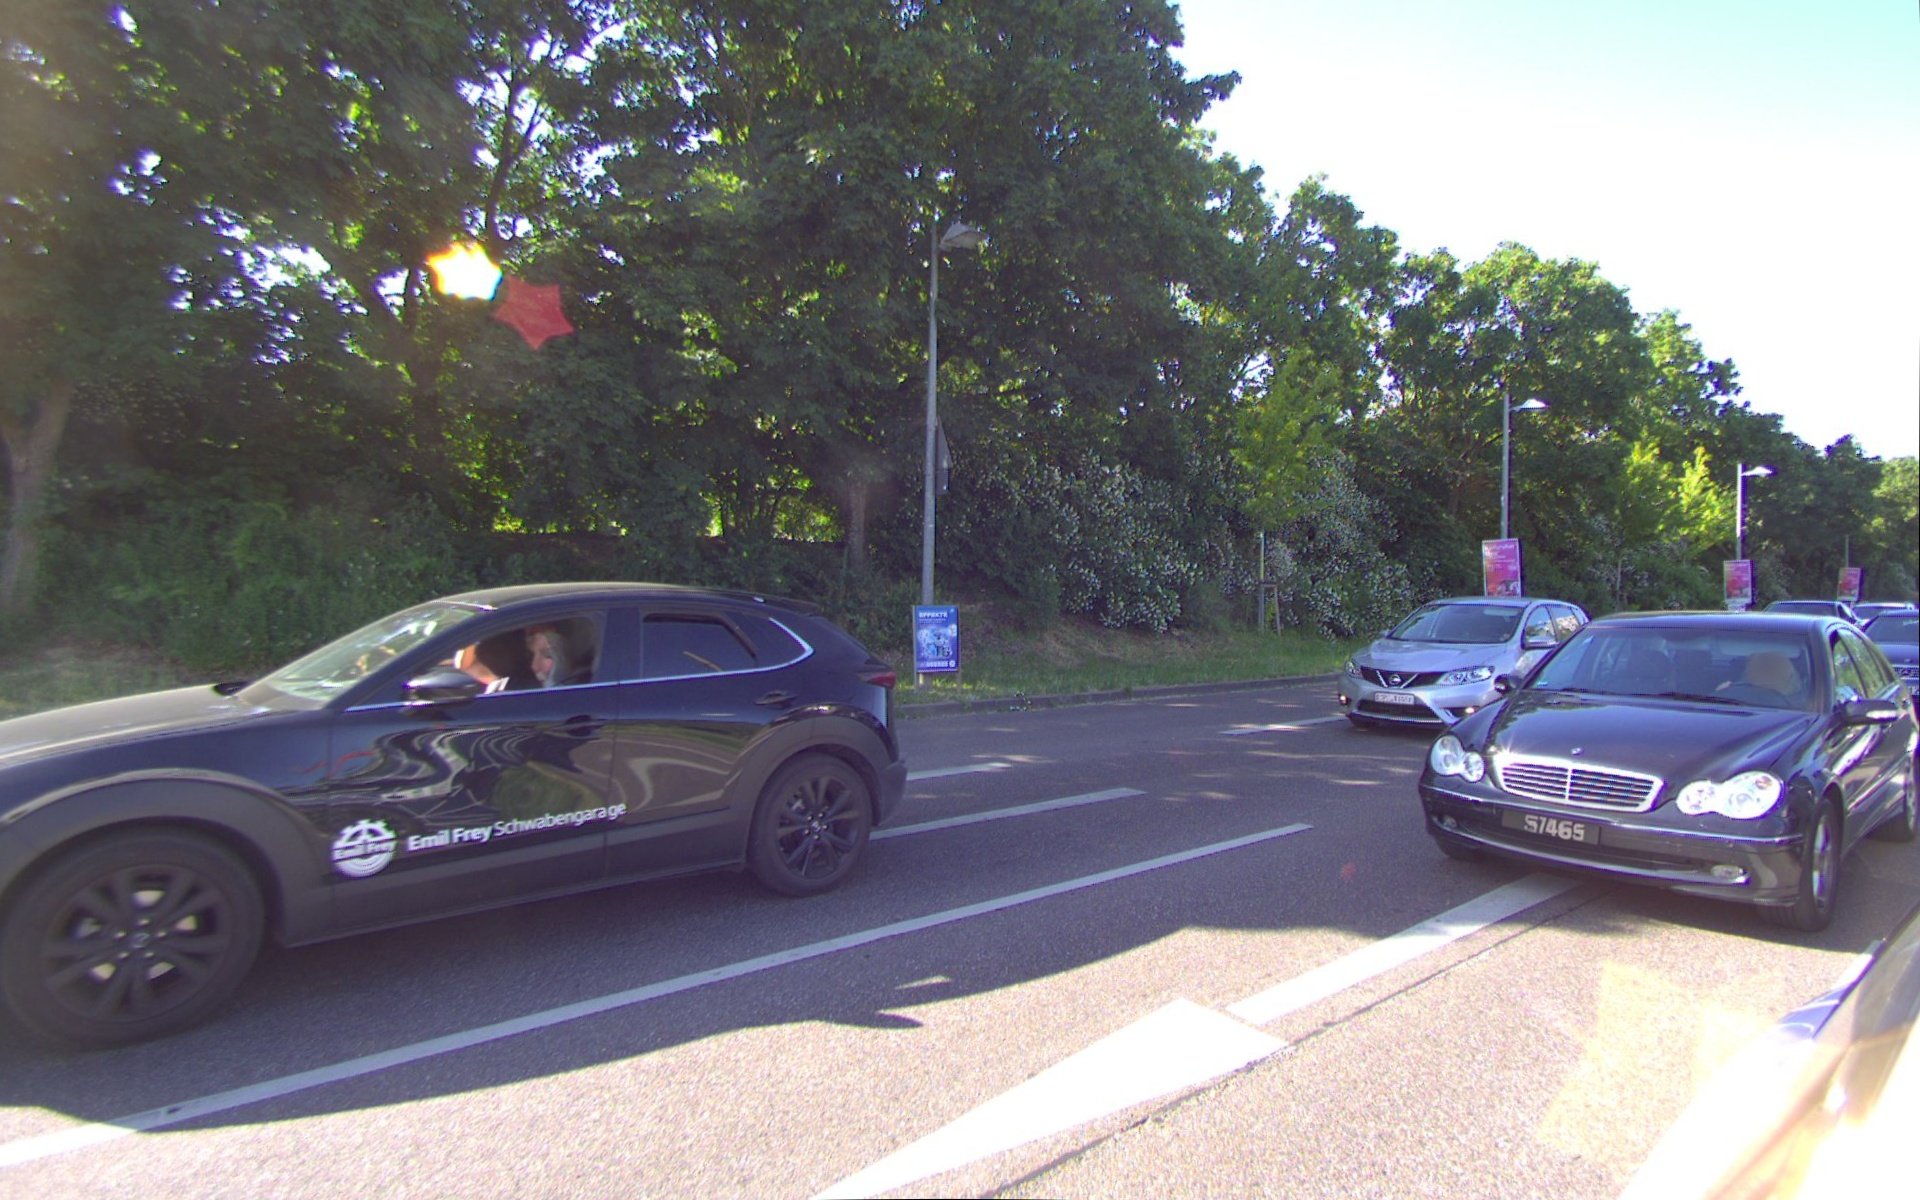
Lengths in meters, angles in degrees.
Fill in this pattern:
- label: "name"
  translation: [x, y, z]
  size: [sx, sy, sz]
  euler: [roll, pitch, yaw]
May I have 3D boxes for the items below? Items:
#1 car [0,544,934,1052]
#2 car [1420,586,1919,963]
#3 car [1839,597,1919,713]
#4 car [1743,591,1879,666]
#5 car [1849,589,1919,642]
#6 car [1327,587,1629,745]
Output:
- label: "car"
  translation: [-2.288, 0.575, 4.706]
  size: [4.151, 1.527, 1.771]
  euler: [-1, 0, -40]
- label: "car"
  translation: [4.520, 0.690, 6.080]
  size: [4.126, 1.472, 1.715]
  euler: [0, 1, -43]
- label: "car"
  translation: [13.667, 0.703, 13.999]
  size: [3.979, 1.437, 1.722]
  euler: [0, 1, -41]
- label: "car"
  translation: [19.015, 0.571, 22.573]
  size: [3.894, 1.512, 1.713]
  euler: [0, 1, -40]
- label: "car"
  translation: [27.668, 0.412, 29.704]
  size: [4.309, 1.454, 1.748]
  euler: [-1, 1, -40]
- label: "car"
  translation: [6.136, 0.632, 11.801]
  size: [4.064, 1.536, 1.725]
  euler: [0, 0, -40]
